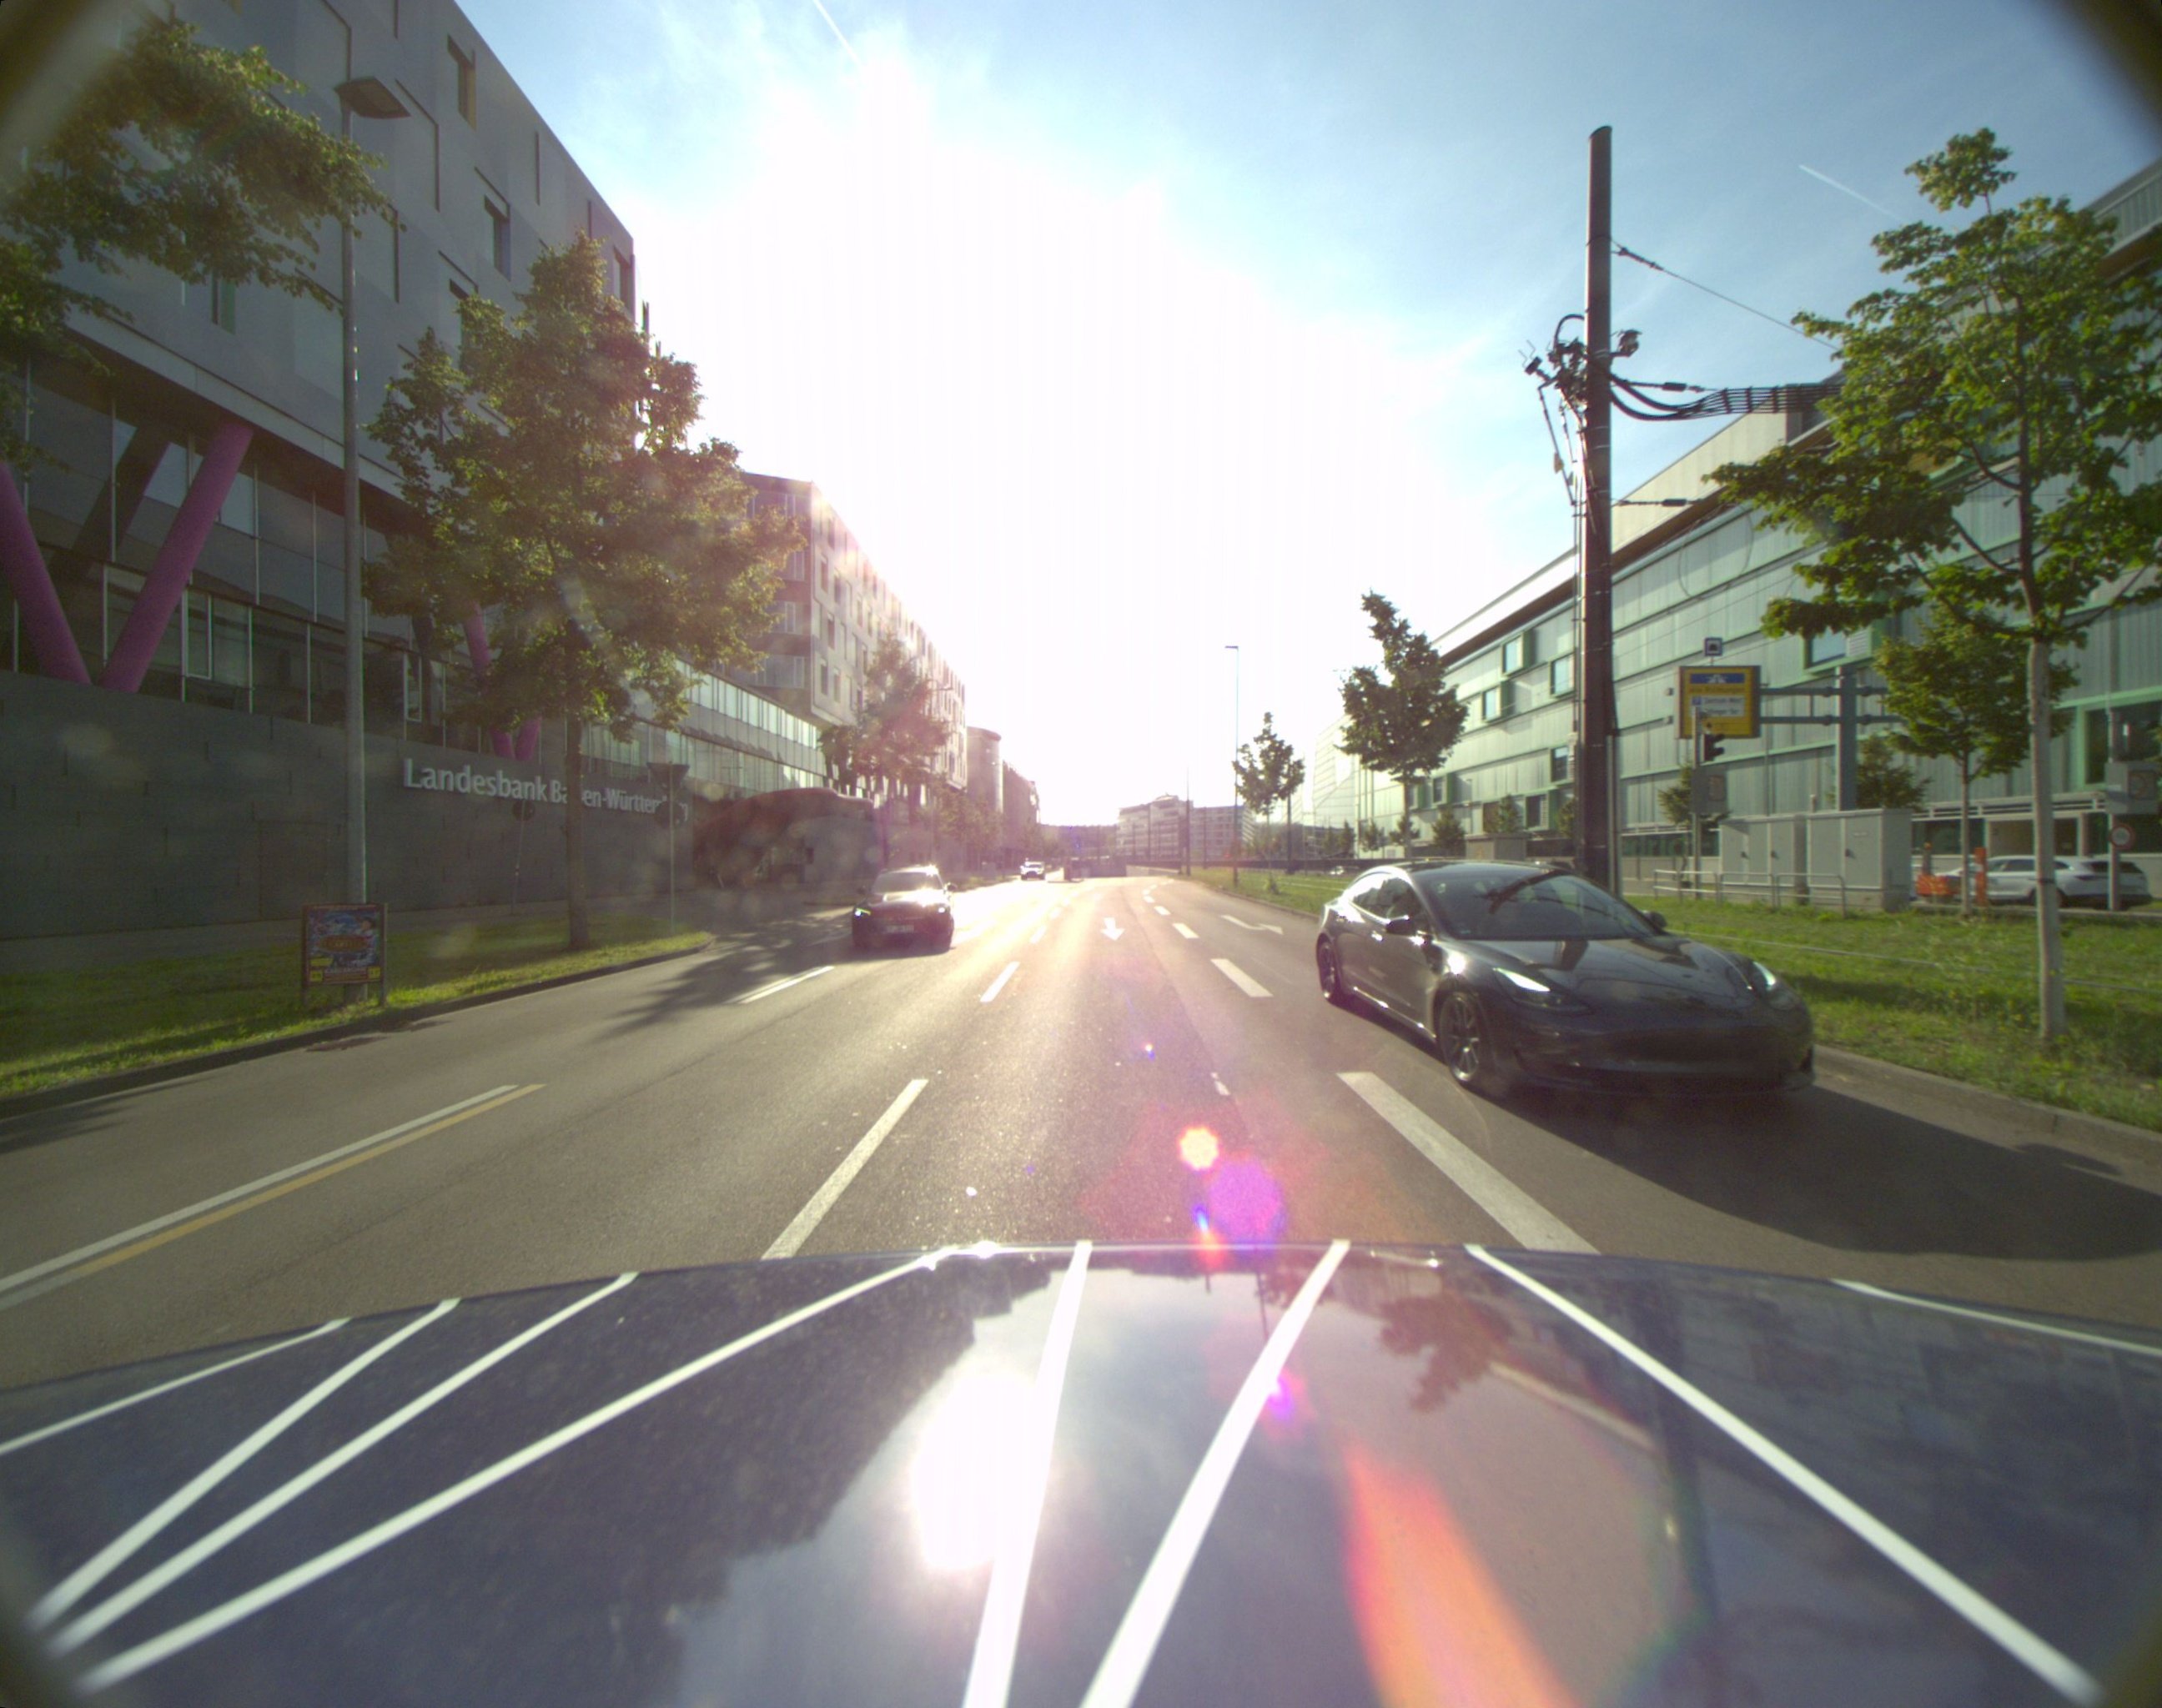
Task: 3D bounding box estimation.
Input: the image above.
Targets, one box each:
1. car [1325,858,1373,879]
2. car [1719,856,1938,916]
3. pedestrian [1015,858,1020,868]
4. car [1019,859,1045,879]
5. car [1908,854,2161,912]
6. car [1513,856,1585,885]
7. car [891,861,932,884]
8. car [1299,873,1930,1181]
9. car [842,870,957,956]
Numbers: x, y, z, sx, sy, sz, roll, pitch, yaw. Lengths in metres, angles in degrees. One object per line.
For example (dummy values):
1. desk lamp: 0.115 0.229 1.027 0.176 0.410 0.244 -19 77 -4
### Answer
1. car: 20.752 1.099 59.027 1.999 1.519 4.912 0 0 0
2. car: 20.875 0.837 21.529 1.998 1.519 4.312 0 0 0
3. pedestrian: -11.432 1.551 136.809 0.725 1.776 0.772 0 1 1
4. car: -4.096 1.224 64.012 1.894 1.418 4.470 -1 2 -1
5. car: 27.336 0.774 22.025 1.910 1.519 4.441 0 0 0
6. car: 28.336 0.961 46.166 1.913 1.625 4.180 0 0 2
7. car: -10.929 1.162 49.253 1.696 1.382 4.199 0 -1 0
8. car: 3.248 0.912 5.915 1.894 1.377 4.335 -2 0 1
9. car: -3.613 1.099 15.877 1.845 1.441 4.553 -1 -1 -7
